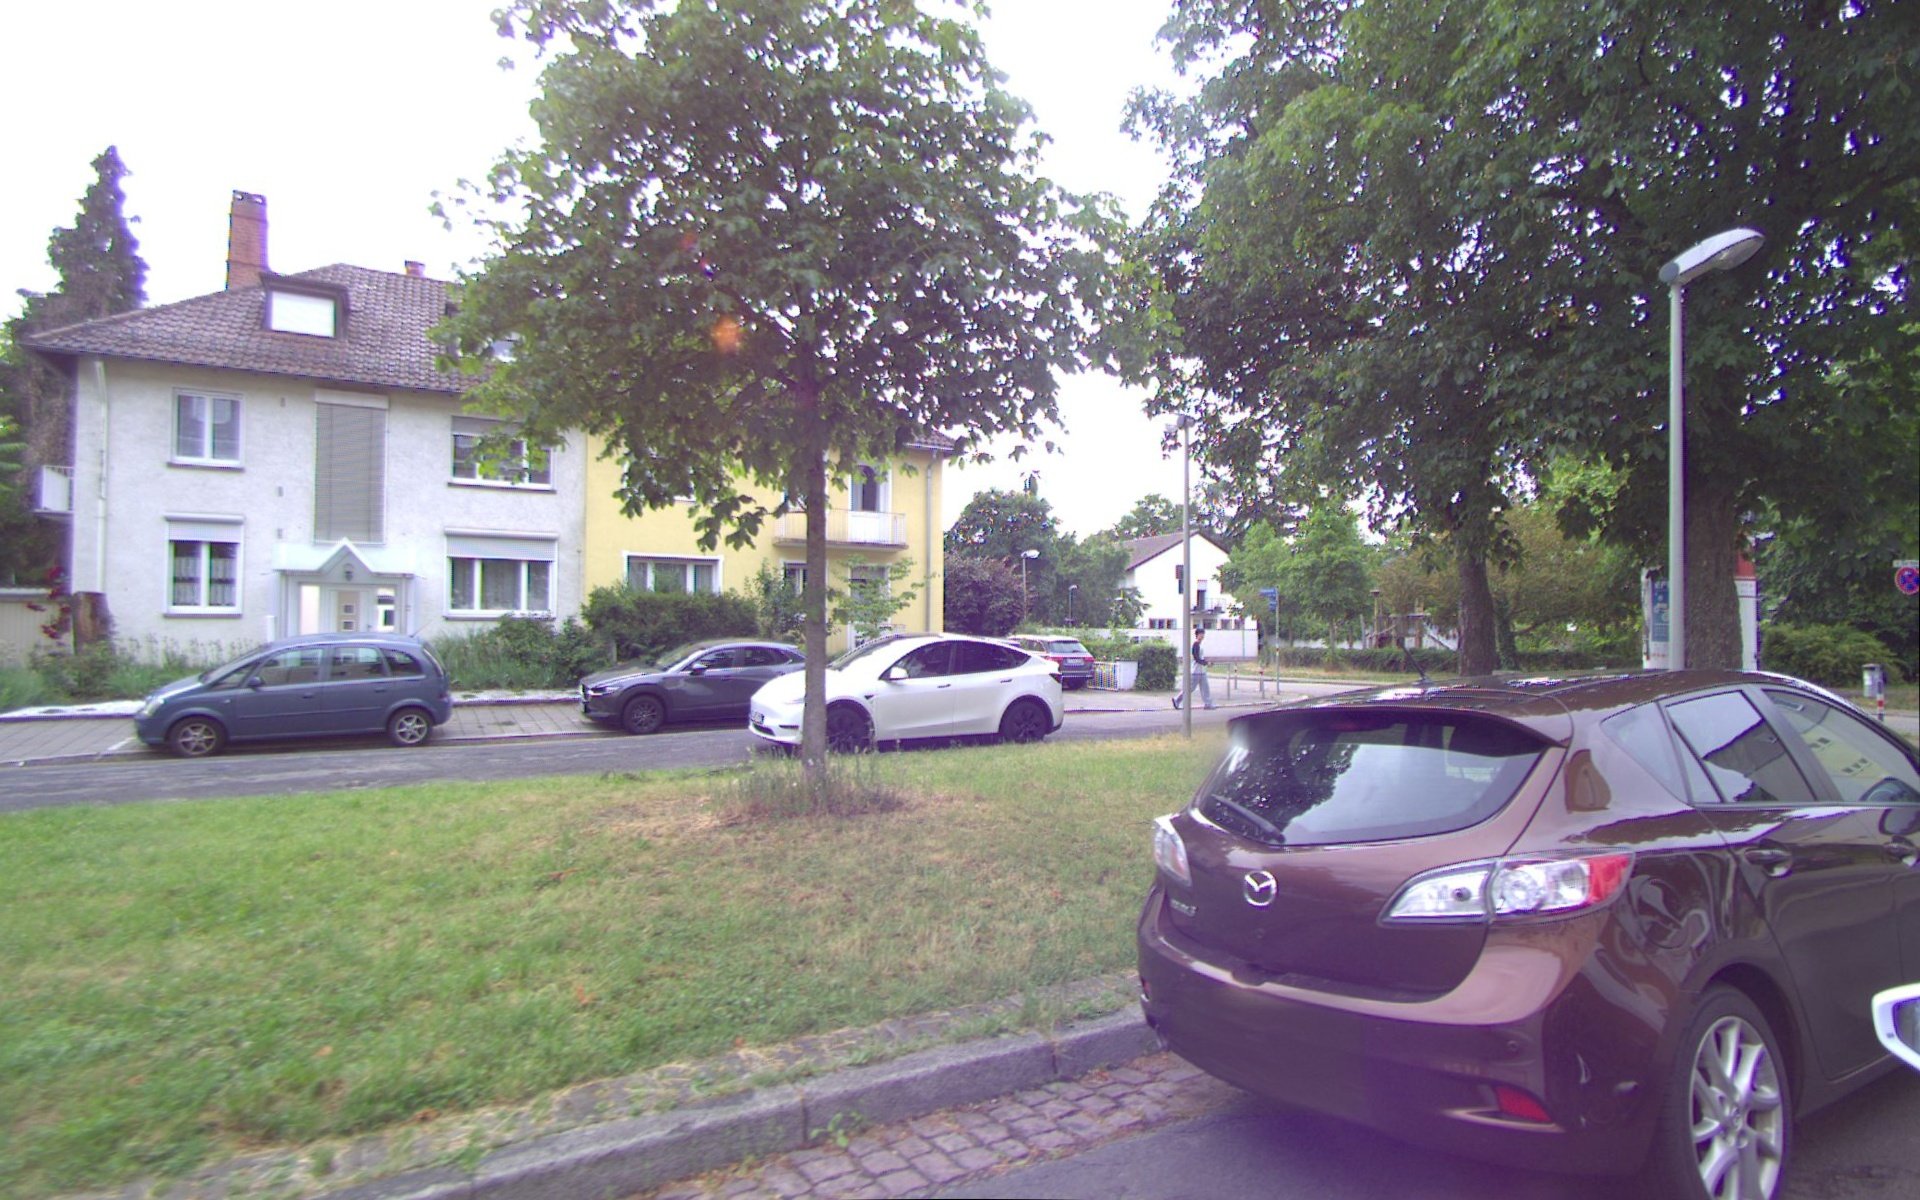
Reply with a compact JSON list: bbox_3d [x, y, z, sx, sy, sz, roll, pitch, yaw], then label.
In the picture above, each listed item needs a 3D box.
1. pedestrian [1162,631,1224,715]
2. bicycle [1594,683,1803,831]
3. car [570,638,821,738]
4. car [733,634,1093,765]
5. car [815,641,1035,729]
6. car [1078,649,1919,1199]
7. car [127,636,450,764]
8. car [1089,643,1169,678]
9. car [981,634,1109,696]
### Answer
[{"bbox_3d":[5.272,1.636,22.711,1.196,1.860,0.878,-2,-3,24],"label":"pedestrian"},{"bbox_3d":[6.296,1.282,8.545,1.861,1.080,0.663,1,-3,-28],"label":"bicycle"},{"bbox_3d":[-4.752,1.504,18.176,4.118,1.520,1.706,1,0,-30],"label":"car"},{"bbox_3d":[-0.607,1.295,14.318,4.826,1.587,1.888,1,-3,-30],"label":"car"},{"bbox_3d":[-0.695,1.659,20.435,4.154,1.587,1.694,1,-1,-26],"label":"car"},{"bbox_3d":[2.663,1.003,3.929,4.113,1.476,1.705,1,-7,-30],"label":"car"},{"bbox_3d":[-9.898,1.396,15.141,3.840,1.623,1.705,1,0,-31],"label":"car"},{"bbox_3d":[10.046,3.534,59.617,4.438,1.884,1.985,1,0,-29],"label":"car"},{"bbox_3d":[2.355,1.842,28.968,1.820,1.631,3.971,1,-3,-28],"label":"car"}]
